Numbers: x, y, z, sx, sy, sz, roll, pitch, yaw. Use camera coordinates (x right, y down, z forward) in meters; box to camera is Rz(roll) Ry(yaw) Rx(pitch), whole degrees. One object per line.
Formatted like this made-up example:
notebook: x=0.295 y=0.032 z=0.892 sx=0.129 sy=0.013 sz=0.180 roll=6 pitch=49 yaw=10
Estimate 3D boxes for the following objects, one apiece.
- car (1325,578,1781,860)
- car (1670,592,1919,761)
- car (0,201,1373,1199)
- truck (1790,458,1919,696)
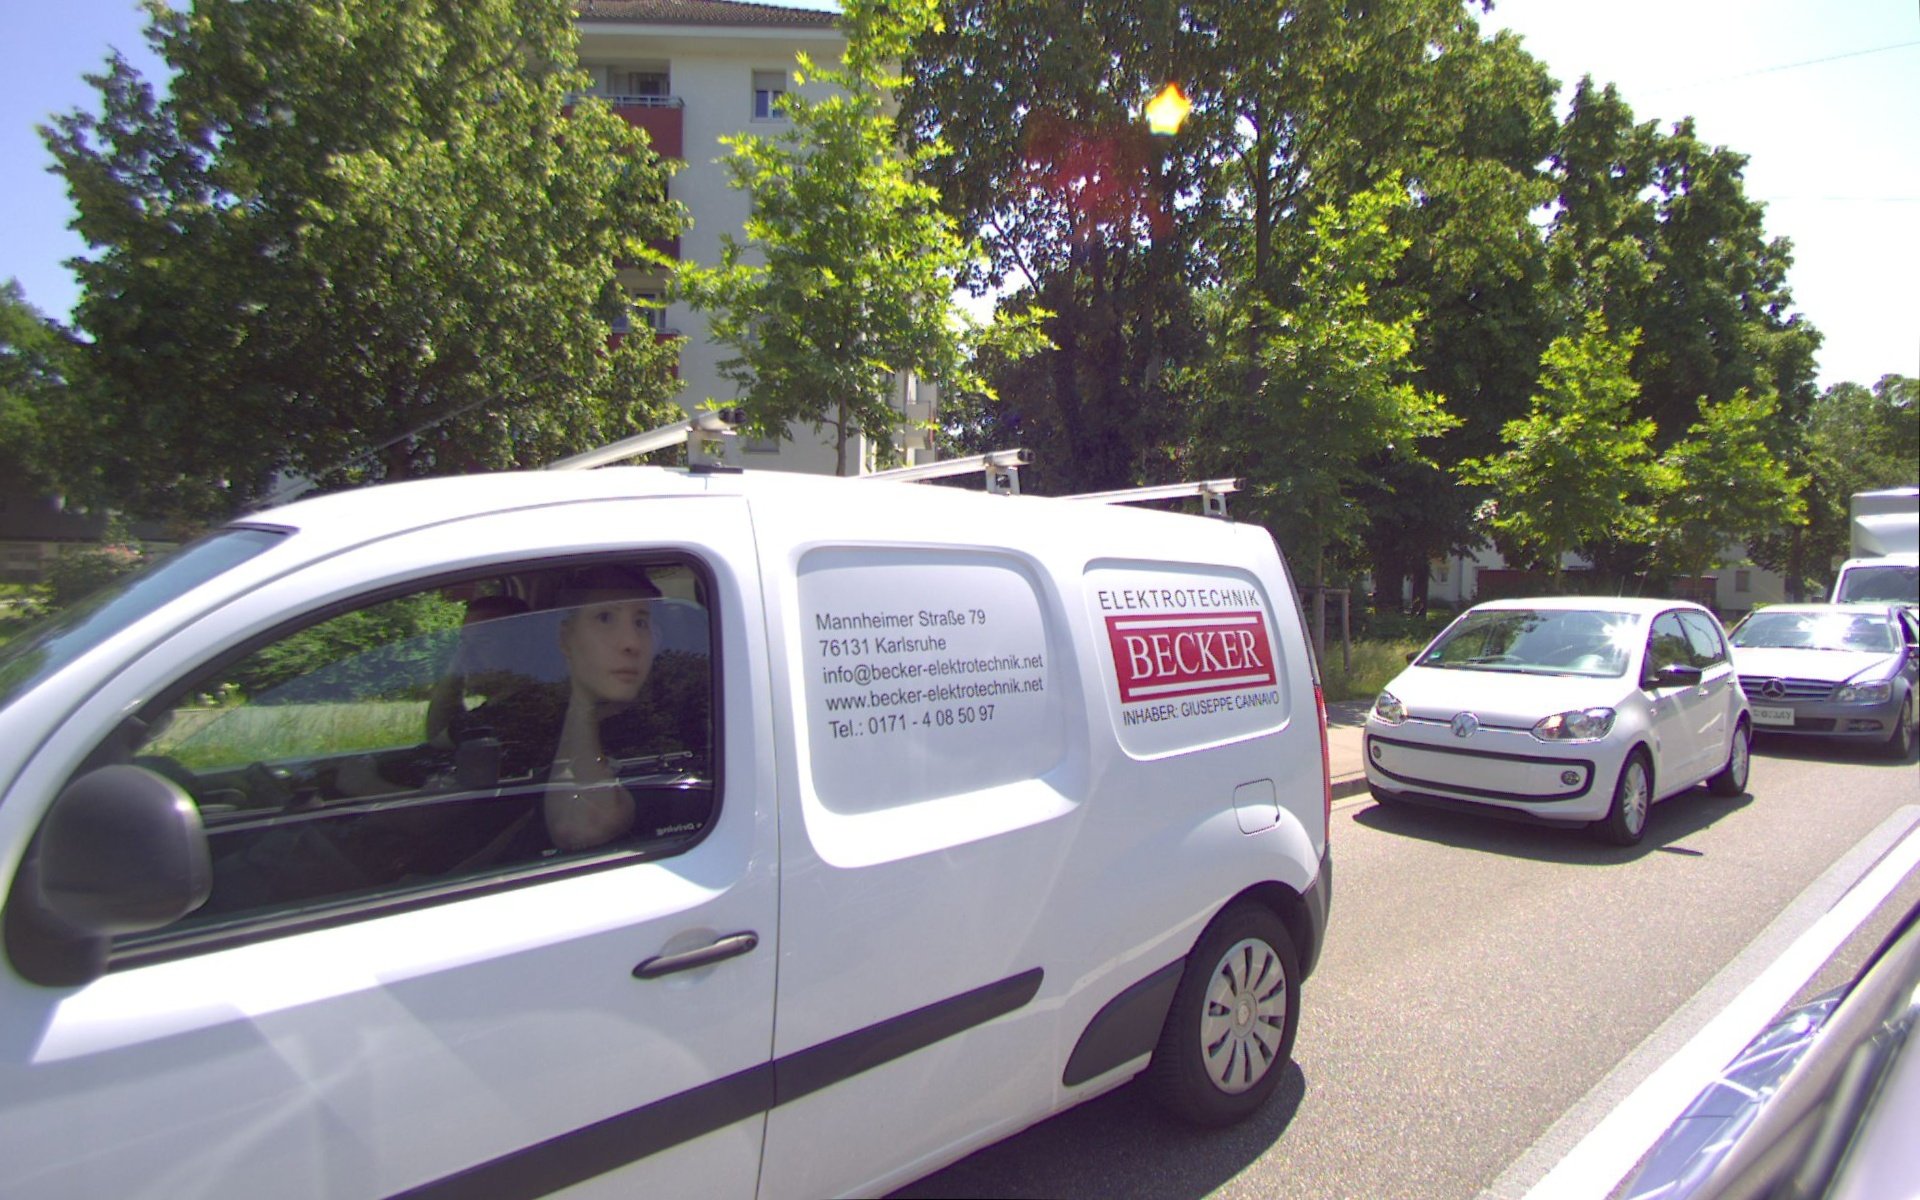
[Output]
car: x=4.392 y=0.618 z=7.287 sx=3.705 sy=1.497 sz=1.729 roll=0 pitch=1 yaw=-41
car: x=9.225 y=0.651 z=10.737 sx=4.016 sy=1.426 sz=1.839 roll=0 pitch=1 yaw=-41
car: x=-1.001 y=0.451 z=2.533 sx=4.370 sy=1.849 sz=1.997 roll=0 pitch=1 yaw=-41
truck: x=16.518 y=-0.340 z=16.980 sx=7.778 sy=3.387 sz=2.434 roll=0 pitch=1 yaw=-39
